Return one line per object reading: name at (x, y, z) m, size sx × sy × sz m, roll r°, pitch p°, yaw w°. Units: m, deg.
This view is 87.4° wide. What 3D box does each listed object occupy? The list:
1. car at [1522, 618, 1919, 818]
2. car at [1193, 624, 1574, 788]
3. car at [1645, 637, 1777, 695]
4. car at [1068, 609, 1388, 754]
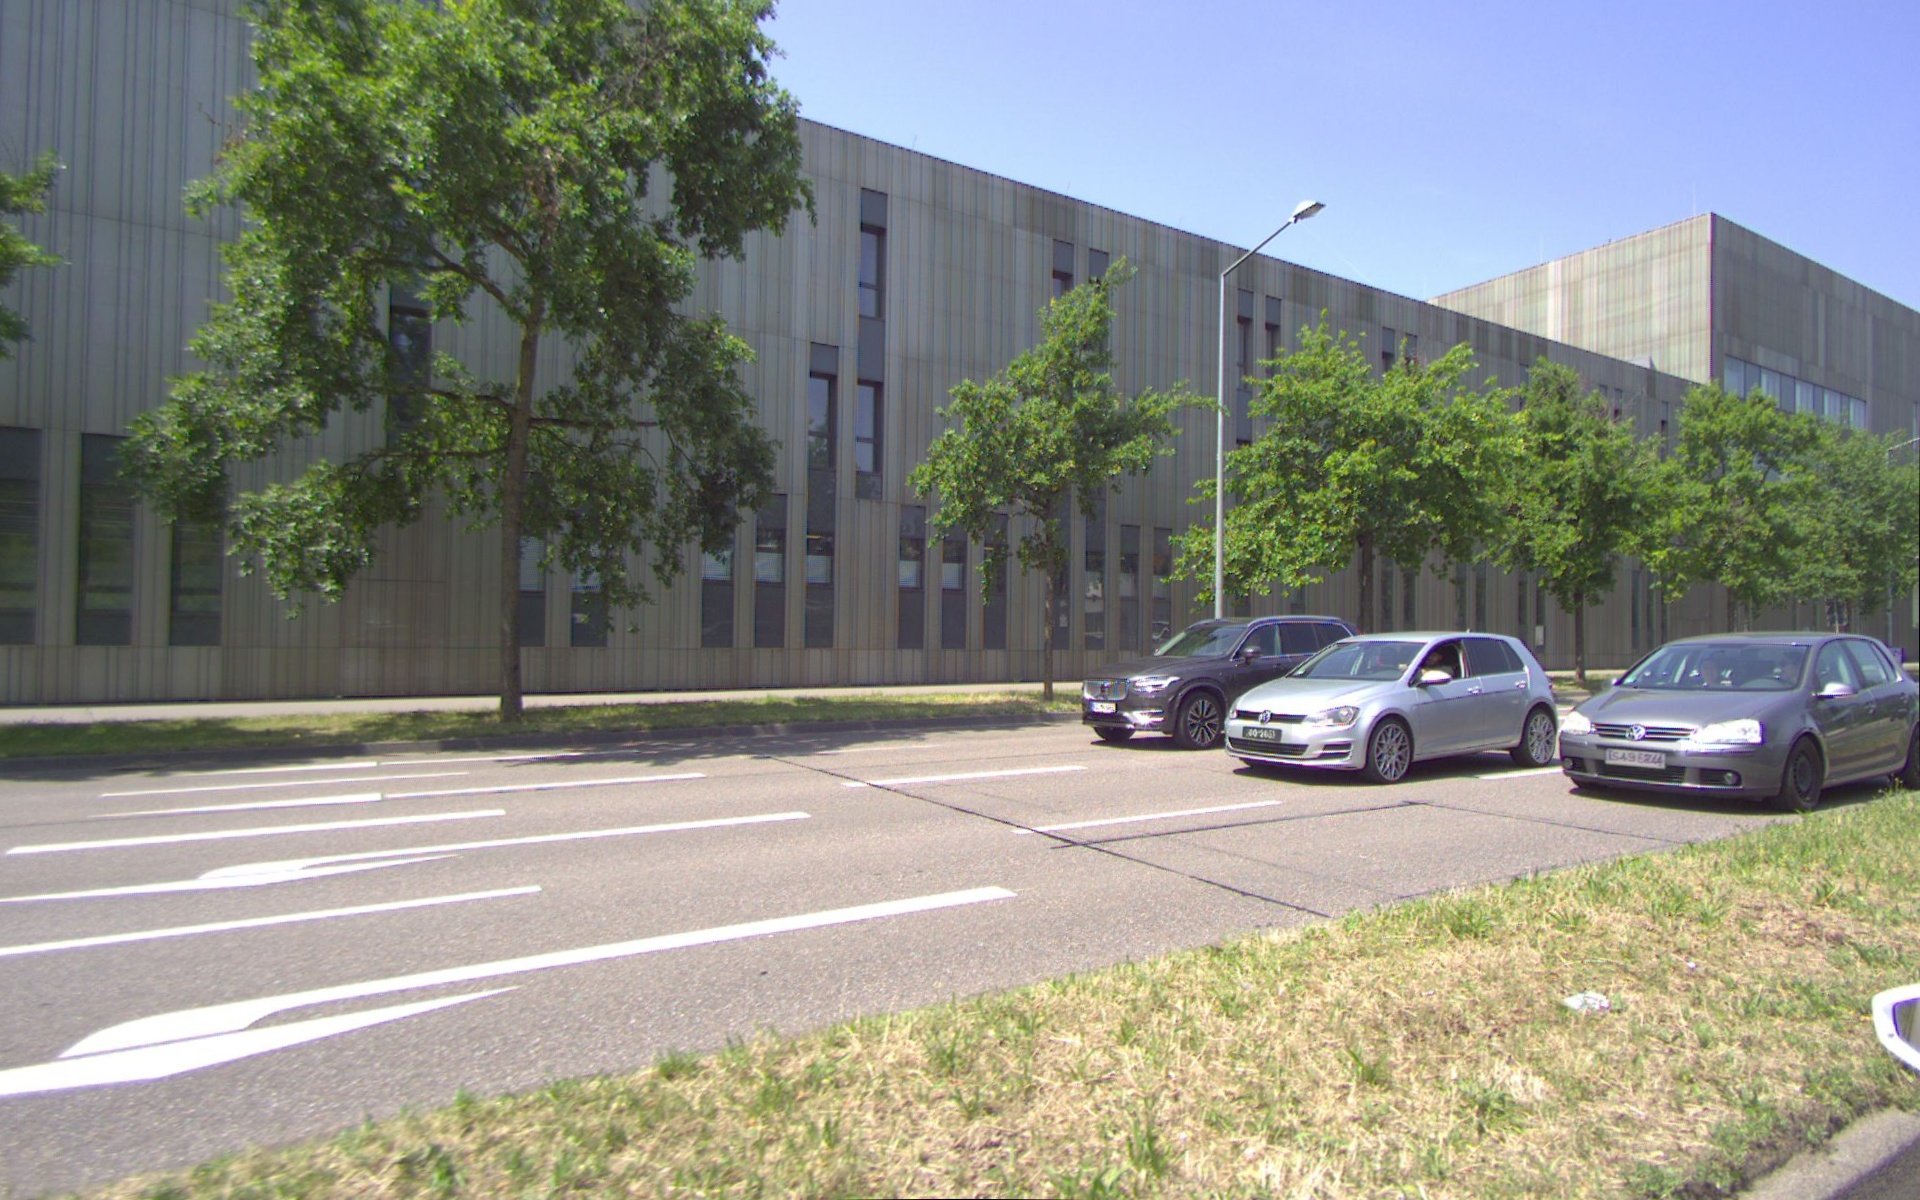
car at (7.220, 0.962, 9.302) m, size 4.012 × 1.485 × 1.801 m, roll 2°, pitch -3°, yaw -32°
car at (4.662, 1.045, 10.932) m, size 4.098 × 1.479 × 1.757 m, roll 2°, pitch -3°, yaw -31°
car at (20.613, 1.760, 27.538) m, size 3.973 × 1.475 × 1.612 m, roll 2°, pitch -2°, yaw -33°
car at (3.899, 1.091, 14.332) m, size 4.595 × 1.769 × 1.800 m, roll 2°, pitch -3°, yaw -33°
